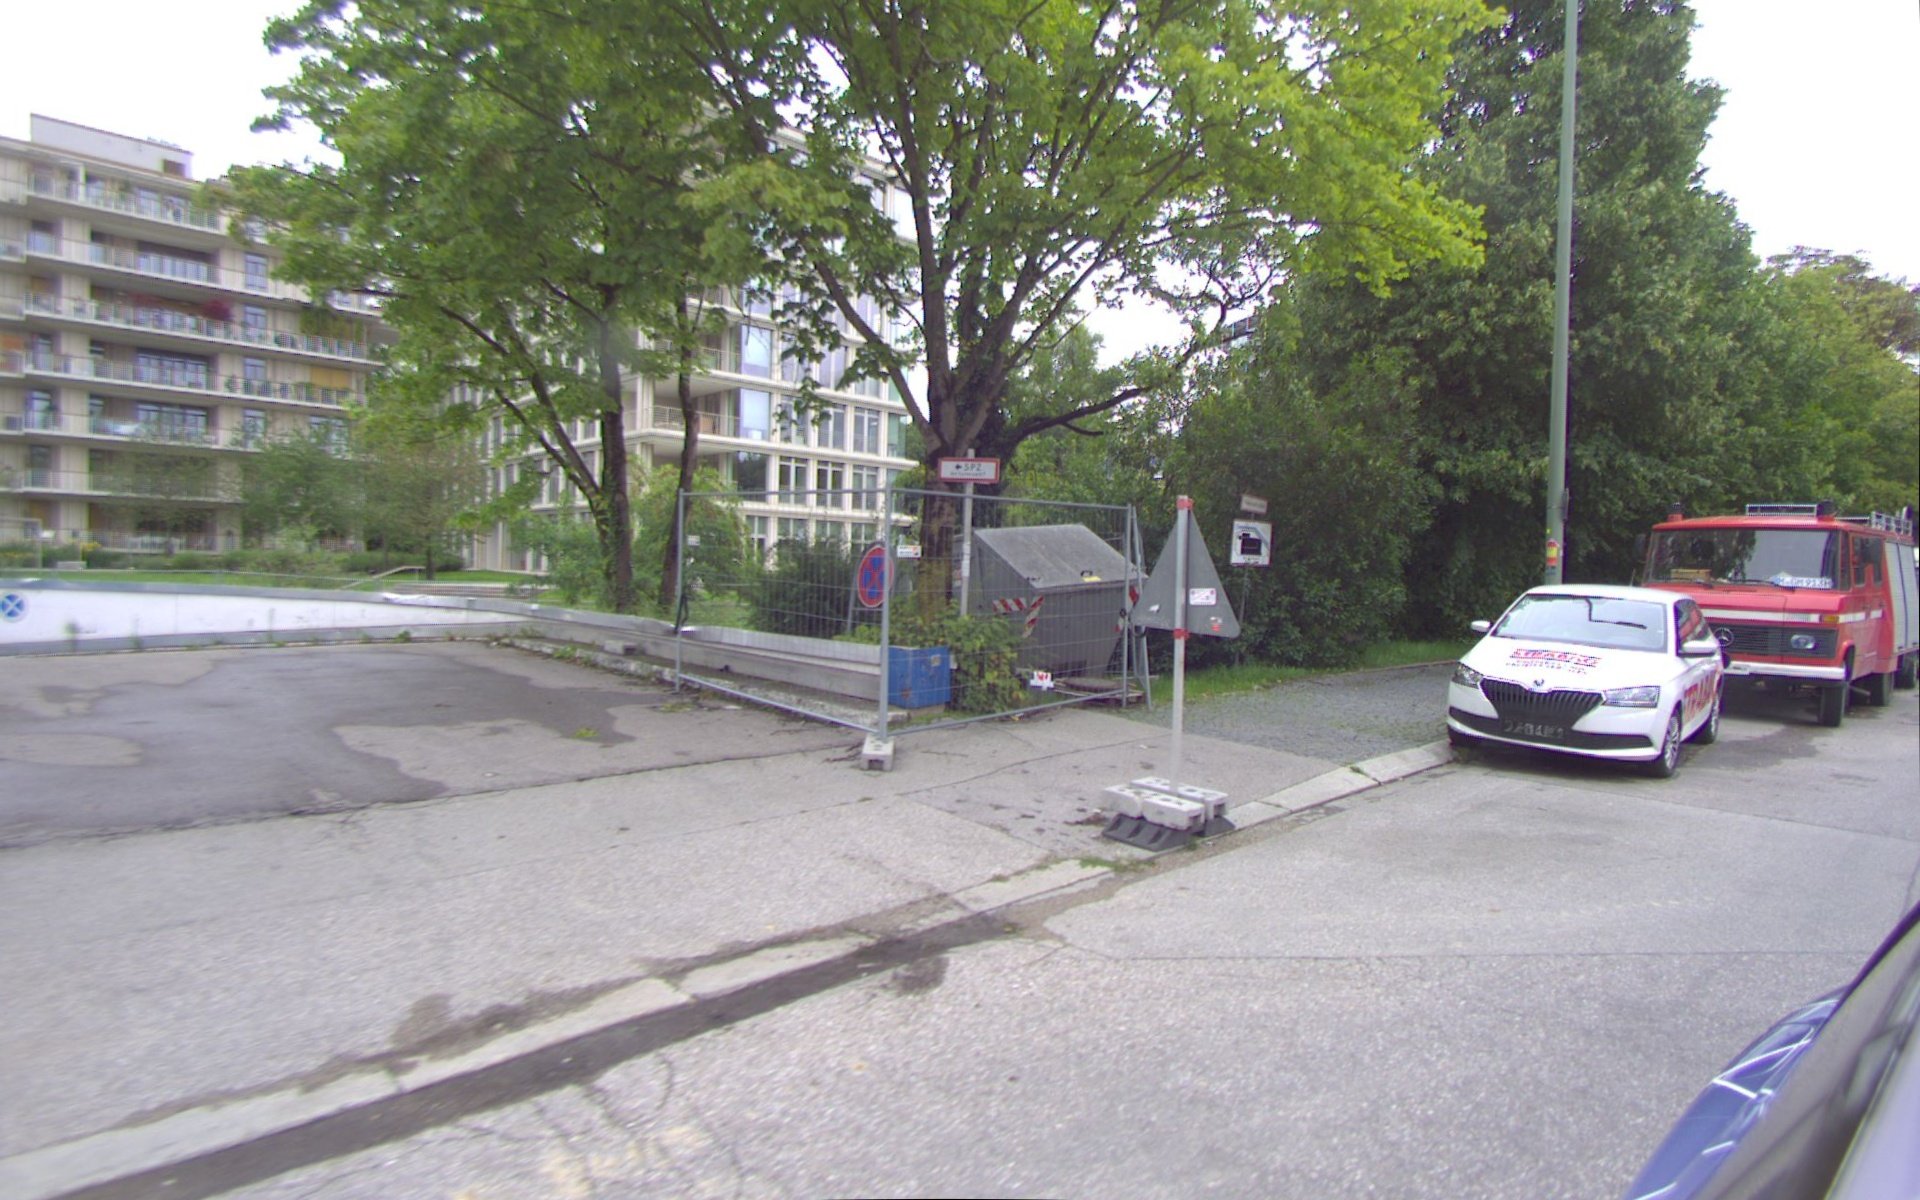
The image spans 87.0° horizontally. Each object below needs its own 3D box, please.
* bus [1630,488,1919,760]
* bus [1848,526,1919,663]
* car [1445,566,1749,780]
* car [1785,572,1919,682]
[{"bbox_3d":[11.170,0.238,13.317,6.158,2.839,2.078,1,2,-39],"label":"bus"},{"bbox_3d":[21.721,-0.067,22.078,5.754,2.763,2.080,1,2,-35],"label":"bus"},{"bbox_3d":[5.992,0.490,9.311,1.533,1.510,3.997,4,3,44],"label":"car"},{"bbox_3d":[16.159,0.442,17.808,4.320,1.660,1.782,1,2,-41],"label":"car"}]
